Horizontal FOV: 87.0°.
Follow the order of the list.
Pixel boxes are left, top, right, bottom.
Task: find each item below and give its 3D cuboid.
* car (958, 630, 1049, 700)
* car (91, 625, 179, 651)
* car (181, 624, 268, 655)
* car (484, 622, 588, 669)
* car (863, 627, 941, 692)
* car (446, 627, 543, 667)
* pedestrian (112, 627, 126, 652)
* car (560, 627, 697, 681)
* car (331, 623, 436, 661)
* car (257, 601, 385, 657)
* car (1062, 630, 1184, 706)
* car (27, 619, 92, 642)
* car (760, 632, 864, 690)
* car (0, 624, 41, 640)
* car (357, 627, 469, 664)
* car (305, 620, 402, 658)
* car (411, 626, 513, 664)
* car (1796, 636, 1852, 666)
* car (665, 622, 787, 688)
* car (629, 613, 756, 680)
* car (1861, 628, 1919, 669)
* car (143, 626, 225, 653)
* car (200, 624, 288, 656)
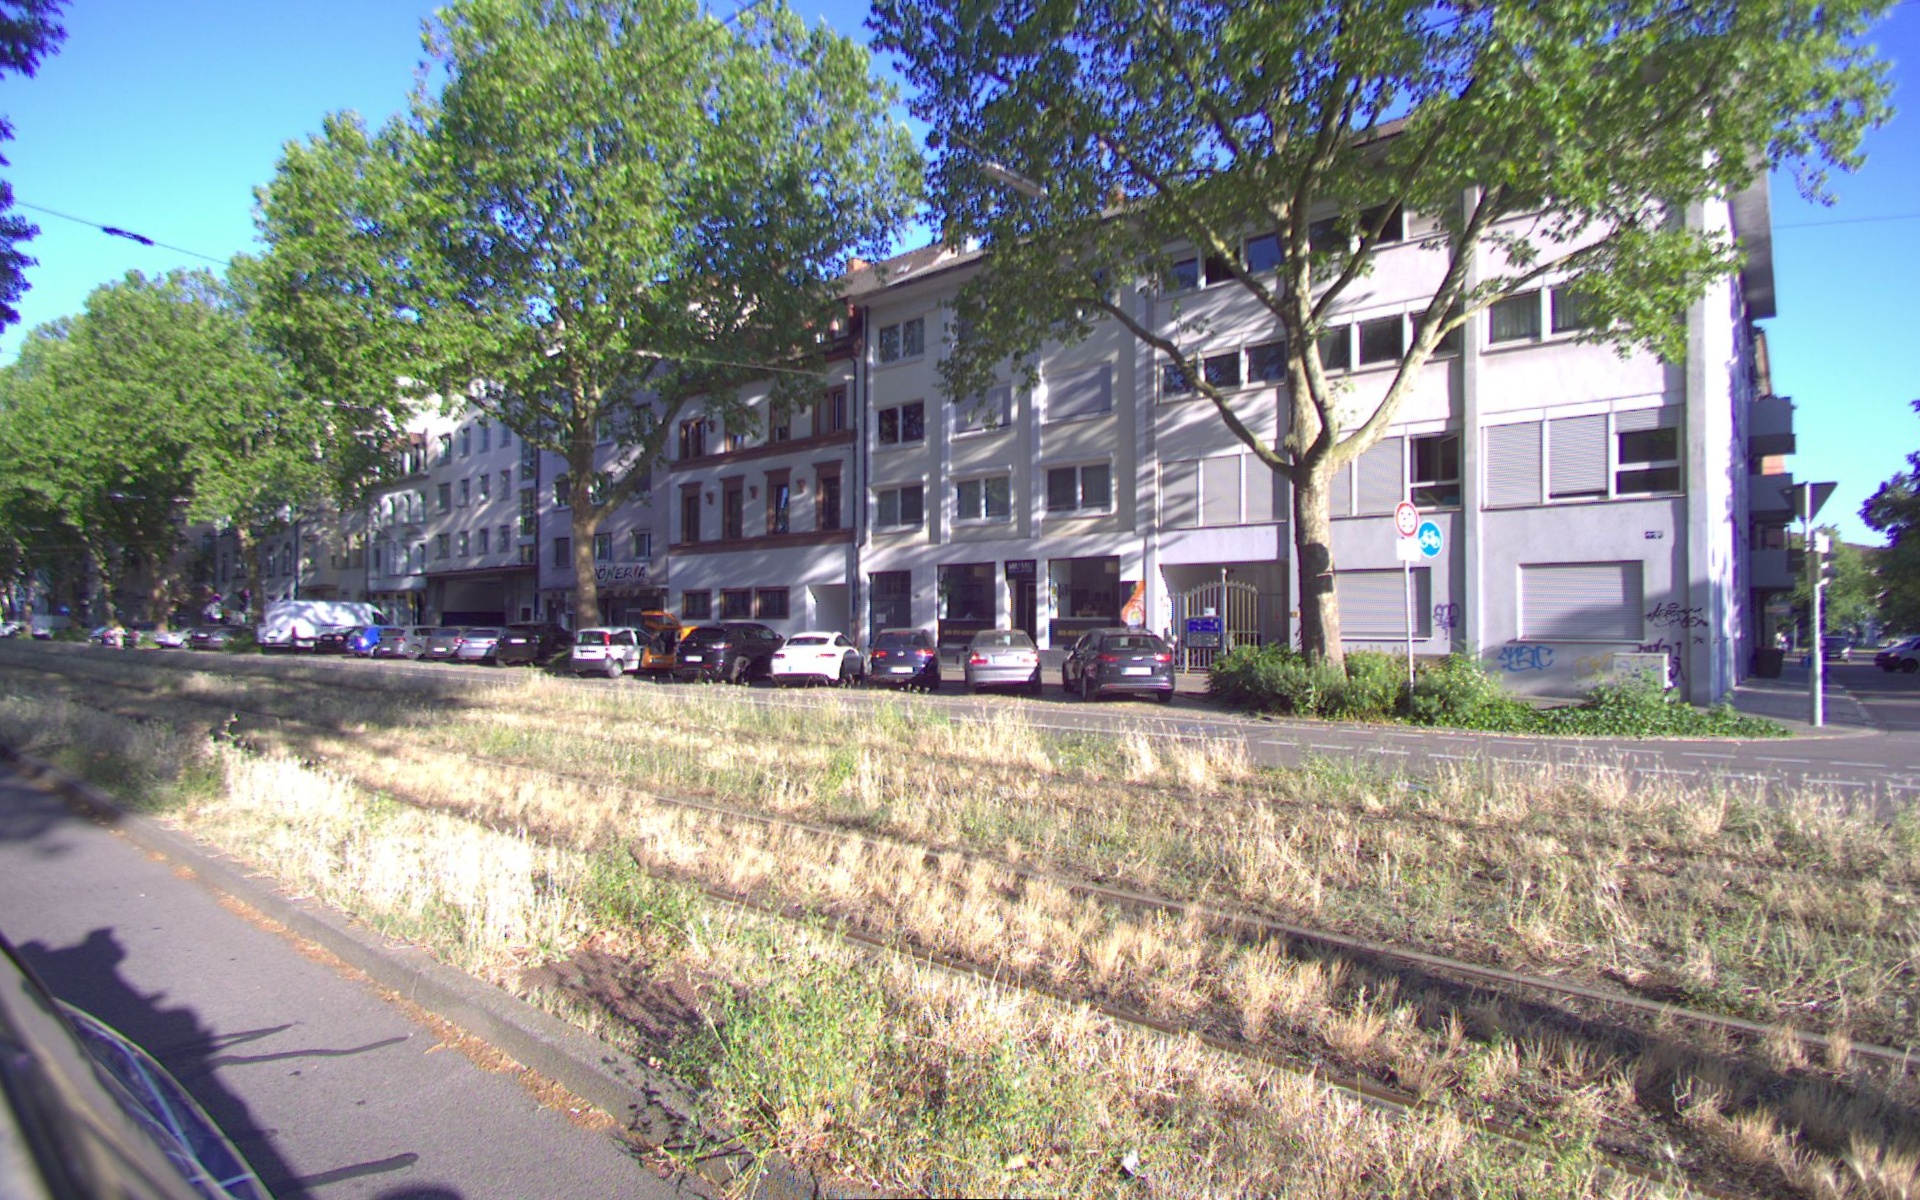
[{"bbox_3d":[0.906,1.422,23.305,1.717,1.443,3.973,-1,-2,-2],"label":"car"},{"bbox_3d":[-54.596,2.500,67.025,1.996,1.719,4.184,-1,-2,36],"label":"car"},{"bbox_3d":[-45.125,2.420,62.216,1.980,1.830,3.982,0,-2,13],"label":"car"},{"bbox_3d":[-15.364,1.620,36.925,1.882,1.626,4.254,0,-2,3],"label":"car"},{"bbox_3d":[-1.441,1.446,25.599,1.805,1.516,3.973,0,-2,-2],"label":"car"},{"bbox_3d":[-18.056,1.810,39.463,1.582,1.470,4.251,0,-2,4],"label":"car"},{"bbox_3d":[-54.665,2.534,65.753,0.422,1.610,0.612,-1,-2,41],"label":"pedestrian"},{"bbox_3d":[-10.261,1.645,31.658,1.634,1.569,4.221,-1,-2,25],"label":"car"},{"bbox_3d":[-26.264,1.884,46.229,1.980,1.630,3.982,0,-2,13],"label":"car"},{"bbox_3d":[-33.072,1.504,52.608,2.161,2.721,5.583,0,-2,16],"label":"car"},{"bbox_3d":[3.297,1.346,21.222,1.746,1.443,3.973,0,-2,-2],"label":"car"},{"bbox_3d":[-88.308,3.017,99.308,2.071,2.230,4.943,0,-2,-2],"label":"car"},{"bbox_3d":[-3.774,1.546,26.603,2.123,1.388,4.257,0,-2,0],"label":"car"},{"bbox_3d":[-106.619,3.643,114.410,3.937,1.827,1.876,2,-2,-40],"label":"car"},{"bbox_3d":[-23.835,1.936,44.258,1.985,1.530,3.973,0,-2,20],"label":"car"},{"bbox_3d":[-30.628,1.947,51.241,1.980,1.830,3.982,0,-2,13],"label":"car"},{"bbox_3d":[-20.444,1.833,41.778,1.883,1.468,4.251,0,-2,4],"label":"car"},{"bbox_3d":[62.778,3.648,73.594,1.991,2.029,5.371,-1,-2,29],"label":"car"},{"bbox_3d":[-6.480,1.493,28.524,2.126,1.697,4.250,0,-2,6],"label":"car"},{"bbox_3d":[-8.293,1.425,31.729,1.508,1.958,4.221,-1,-2,25],"label":"car"},{"bbox_3d":[49.418,2.460,51.127,5.380,2.029,1.988,0,-2,18],"label":"car"},{"bbox_3d":[-51.750,2.597,67.553,1.980,1.719,3.982,0,-2,13],"label":"car"},{"bbox_3d":[-42.530,2.366,60.221,1.980,1.830,3.982,0,-2,13],"label":"car"}]
